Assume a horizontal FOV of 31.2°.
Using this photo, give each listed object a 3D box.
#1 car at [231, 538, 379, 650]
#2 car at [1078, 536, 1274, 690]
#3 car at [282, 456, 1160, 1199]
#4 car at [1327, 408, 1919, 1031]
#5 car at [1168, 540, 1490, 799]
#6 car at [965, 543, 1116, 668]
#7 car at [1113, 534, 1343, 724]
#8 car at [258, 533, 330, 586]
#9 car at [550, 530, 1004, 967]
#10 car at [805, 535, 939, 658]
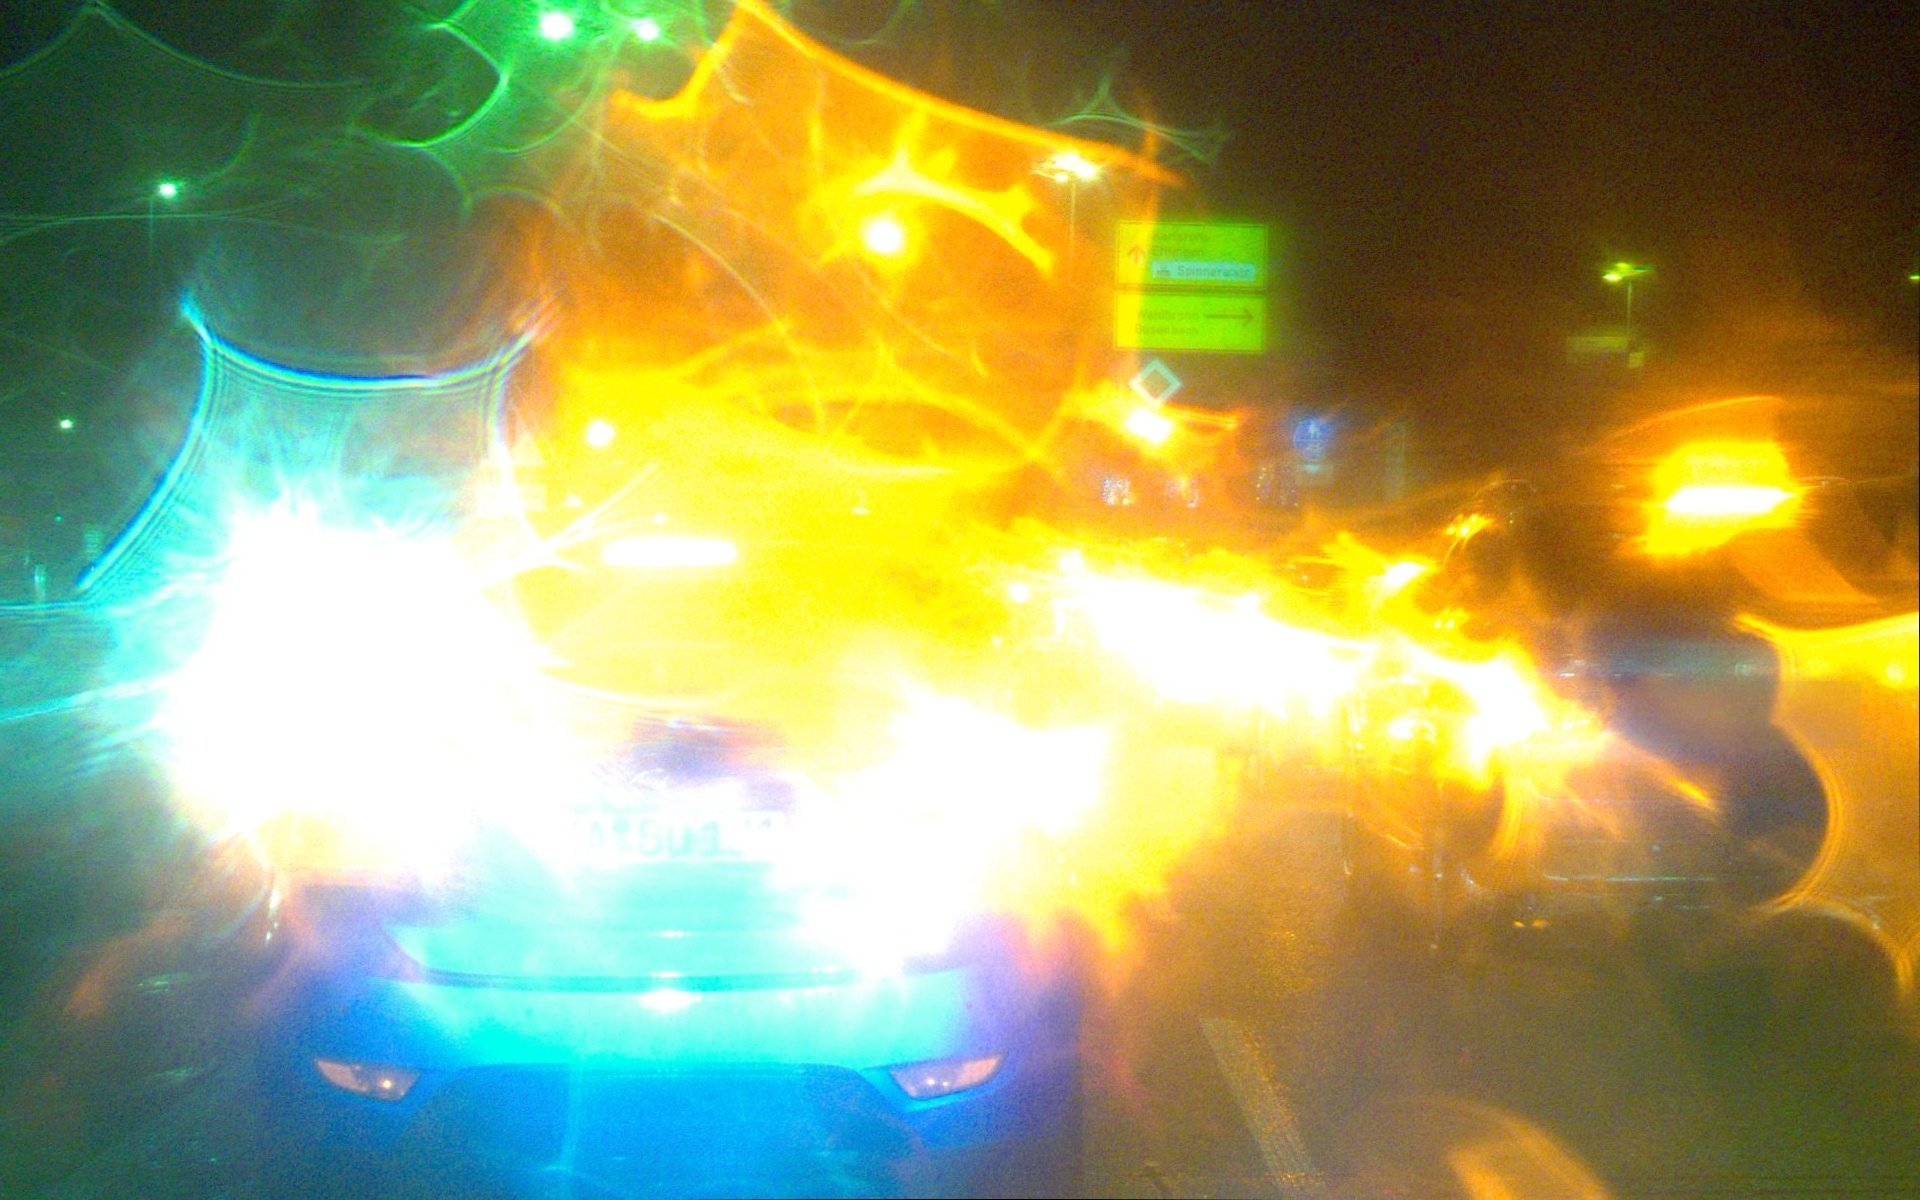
[{"bbox_3d":[-8.856,-0.109,46.667,1.719,1.437,3.740,0,1,-7],"label":"car"},{"bbox_3d":[2.134,0.090,34.899,1.663,1.445,4.050,0,1,-1],"label":"car"},{"bbox_3d":[-0.486,0.521,8.618,1.694,1.624,3.853,1,1,-1],"label":"car"},{"bbox_3d":[2.548,0.329,12.981,1.942,1.965,4.218,0,1,1],"label":"car"},{"bbox_3d":[2.228,0.357,21.704,1.768,1.445,4.218,0,1,3],"label":"car"},{"bbox_3d":[0.936,0.046,41.844,1.663,1.445,4.050,0,0,-1],"label":"car"},{"bbox_3d":[2.145,0.210,28.364,1.663,1.445,4.050,0,0,1],"label":"car"},{"bbox_3d":[-18.551,-1.139,95.887,1.719,1.437,3.740,0,1,-7],"label":"car"},{"bbox_3d":[-0.709,0.534,15.104,1.708,1.632,3.731,-1,1,0],"label":"car"},{"bbox_3d":[-1.299,-0.084,49.314,1.708,1.632,3.731,-1,1,-4],"label":"car"}]
